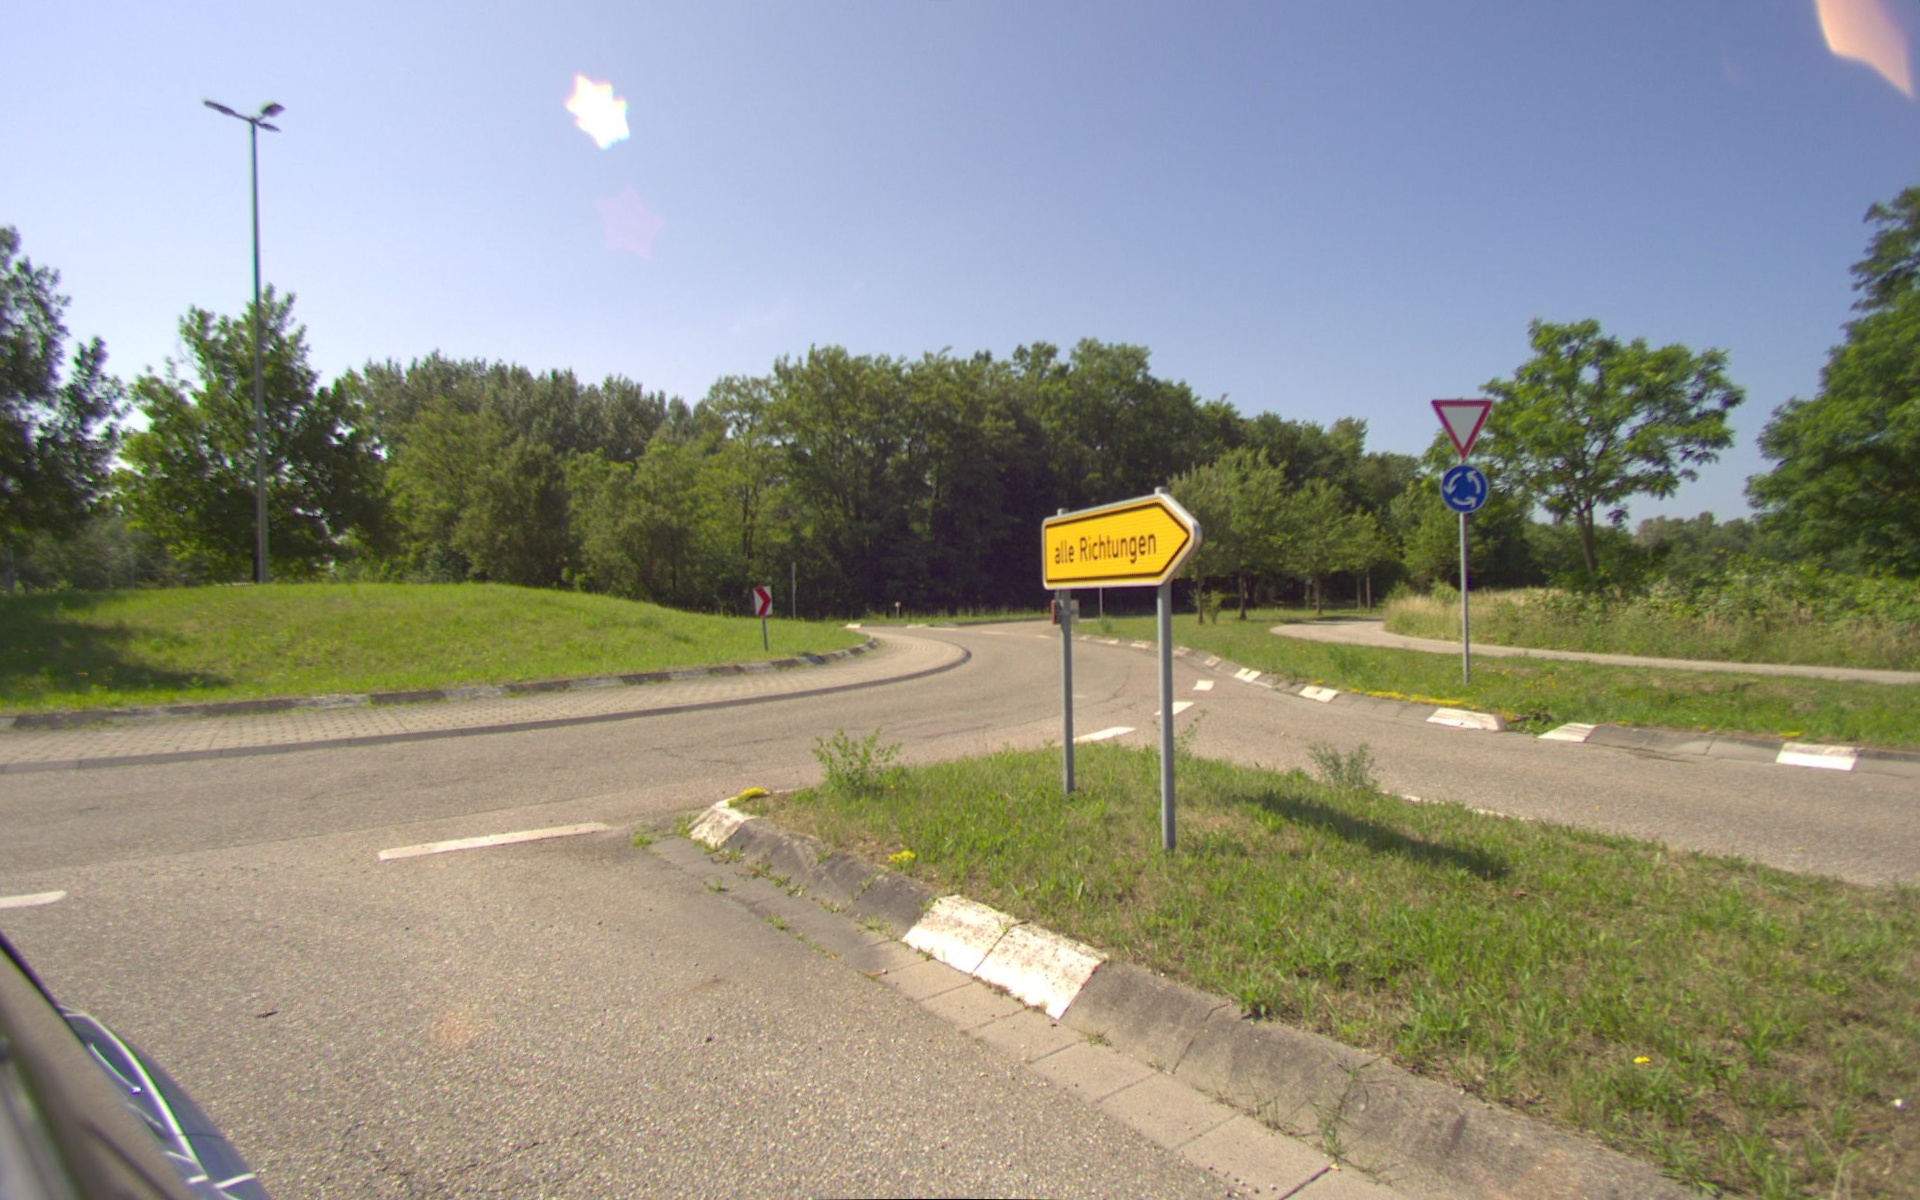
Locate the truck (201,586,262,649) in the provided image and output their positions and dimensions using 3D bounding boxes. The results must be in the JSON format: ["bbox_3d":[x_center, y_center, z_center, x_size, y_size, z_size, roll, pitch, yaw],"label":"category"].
[{"bbox_3d":[-48.307,1.191,67.272,2.676,3.944,5.968,-1,-1,-30],"label":"truck"}]
